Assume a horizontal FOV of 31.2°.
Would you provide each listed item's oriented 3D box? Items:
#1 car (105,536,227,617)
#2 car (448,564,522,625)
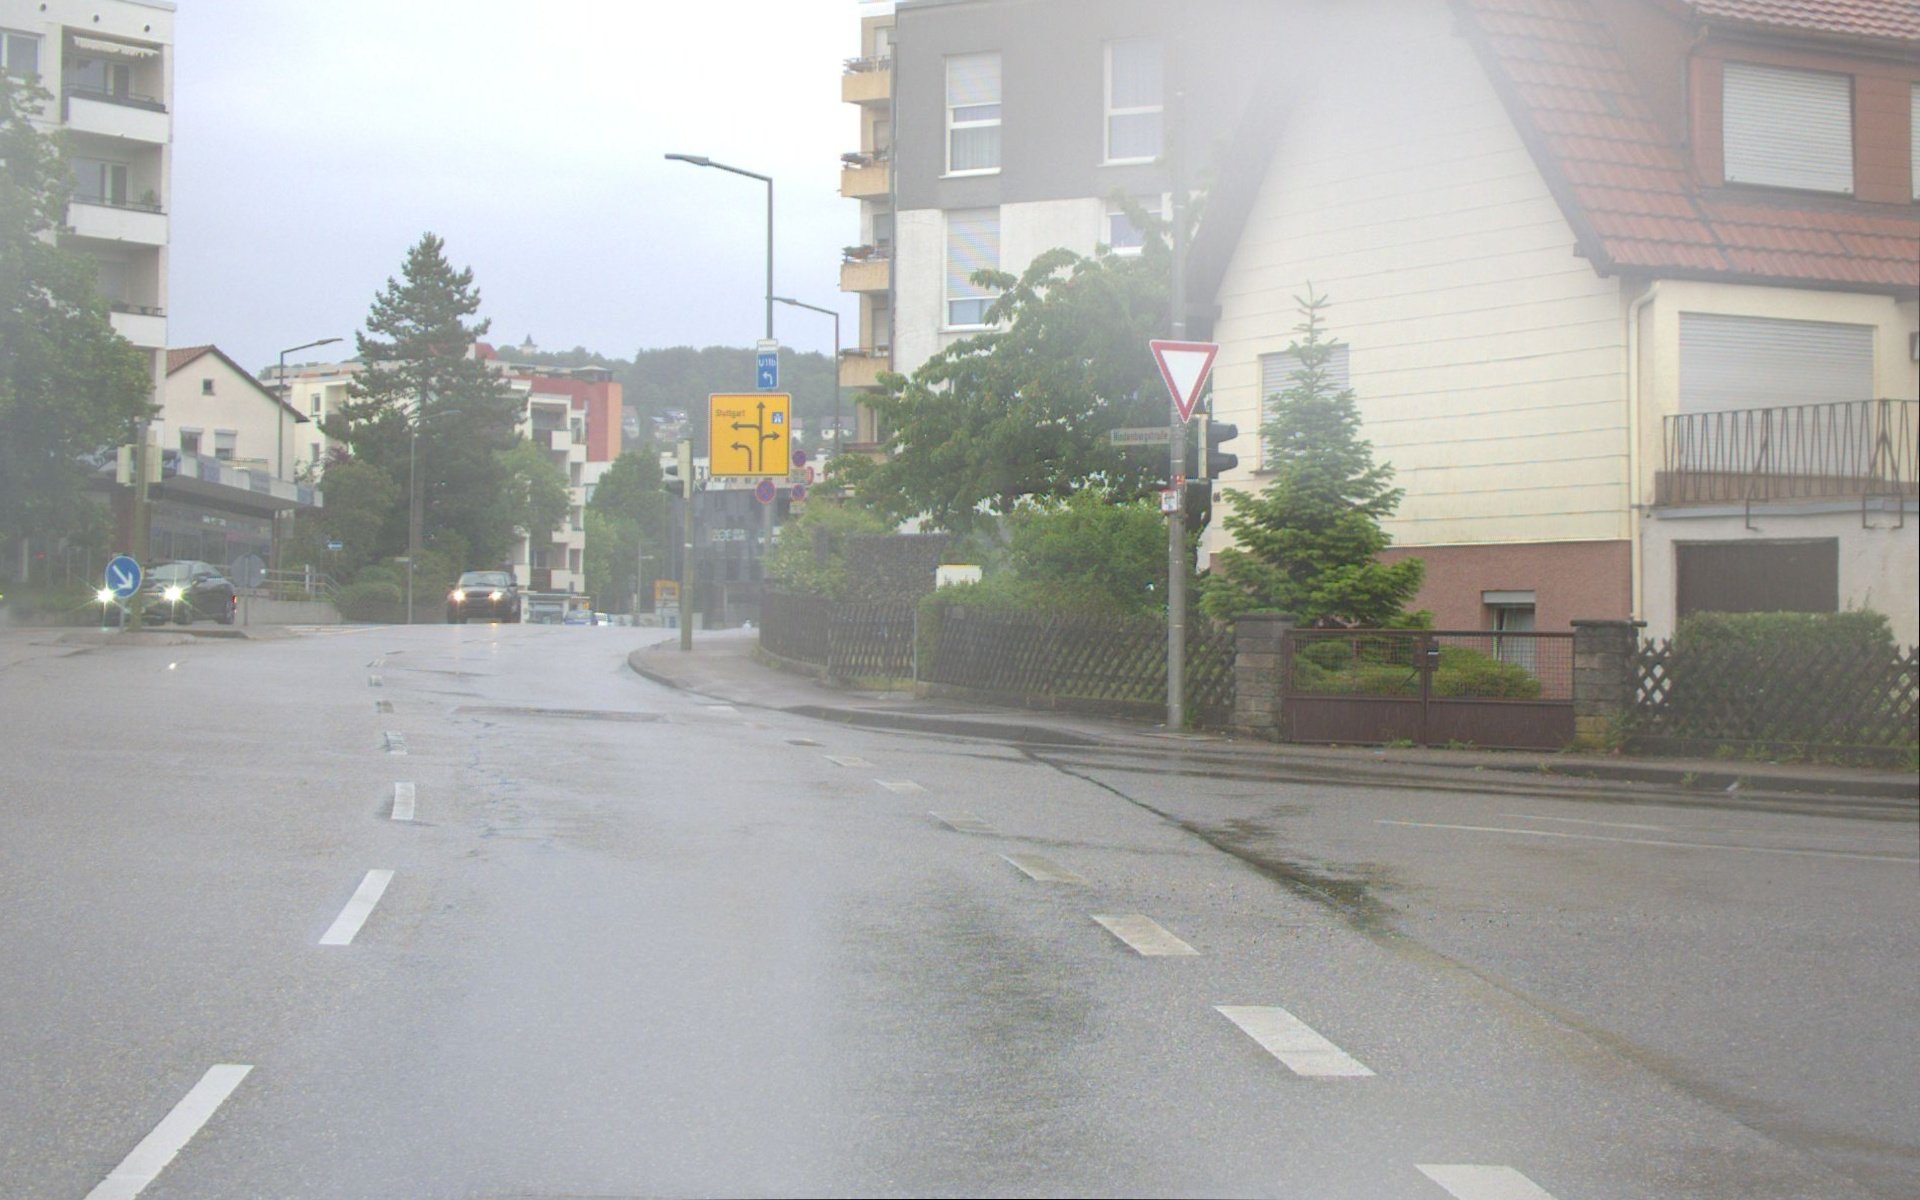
[{"bbox_3d":[-17.059,-0.487,74.004,1.993,1.673,4.001,1,0,-5],"label":"car"},{"bbox_3d":[-14.363,-0.161,104.212,1.993,1.805,4.001,1,0,-5],"label":"car"}]
